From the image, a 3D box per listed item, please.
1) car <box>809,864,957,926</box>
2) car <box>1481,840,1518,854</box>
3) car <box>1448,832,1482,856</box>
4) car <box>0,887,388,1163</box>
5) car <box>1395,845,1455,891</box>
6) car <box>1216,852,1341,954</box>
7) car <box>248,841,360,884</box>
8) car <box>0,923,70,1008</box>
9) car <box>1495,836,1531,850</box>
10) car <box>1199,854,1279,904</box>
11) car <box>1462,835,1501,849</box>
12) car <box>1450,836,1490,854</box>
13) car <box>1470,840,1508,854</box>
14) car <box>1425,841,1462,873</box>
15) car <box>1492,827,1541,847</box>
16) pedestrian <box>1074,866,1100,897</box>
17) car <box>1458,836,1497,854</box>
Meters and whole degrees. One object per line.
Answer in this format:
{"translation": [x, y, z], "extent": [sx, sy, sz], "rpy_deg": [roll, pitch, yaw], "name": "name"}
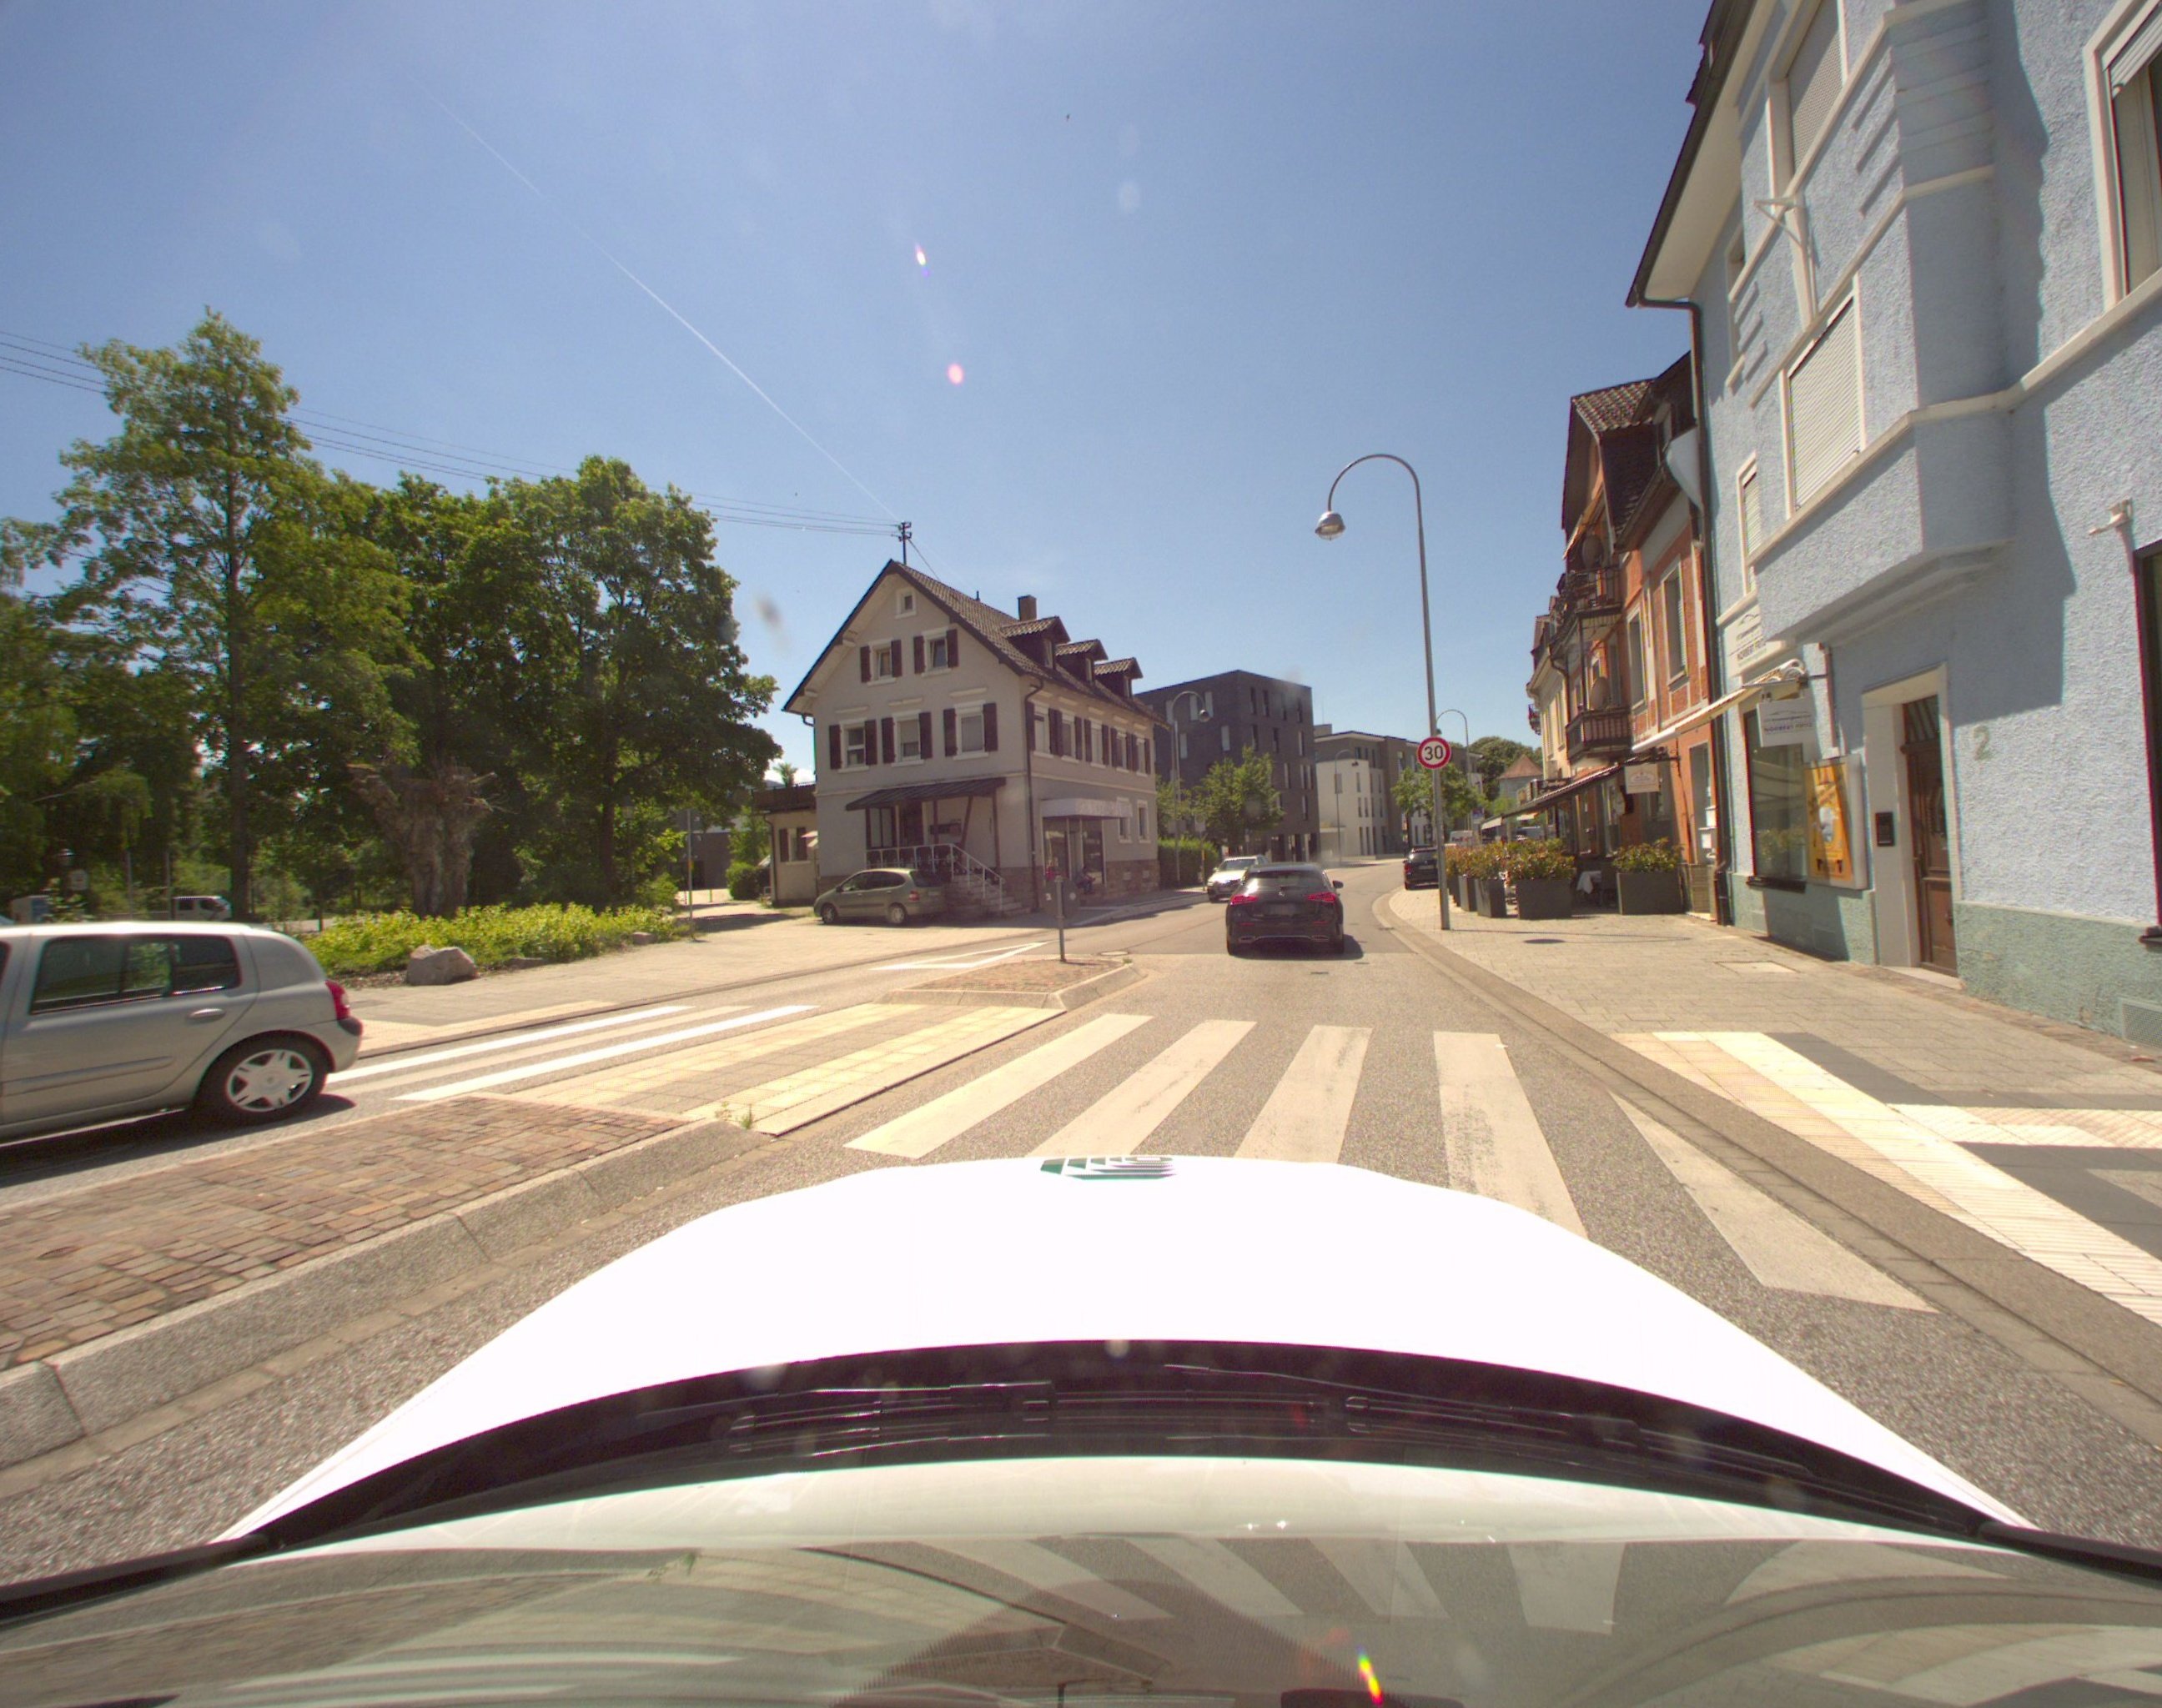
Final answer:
{"translation": [-5.846, 1.211, 24.027], "extent": [3.950, 1.640, 1.768], "rpy_deg": [-3, 0, 25], "name": "car"}
{"translation": [56.379, -0.948, 109.640], "extent": [2.012, 1.662, 3.950], "rpy_deg": [-2, -1, -45], "name": "car"}
{"translation": [34.128, -0.884, 72.250], "extent": [1.974, 2.013, 4.026], "rpy_deg": [-3, -1, 35], "name": "car"}
{"translation": [-6.677, 1.045, 4.684], "extent": [1.530, 1.412, 3.742], "rpy_deg": [-6, -2, 30], "name": "car"}
{"translation": [12.929, 0.470, 30.486], "extent": [1.734, 1.486, 4.024], "rpy_deg": [-6, -2, 26], "name": "car"}
{"translation": [3.546, 0.786, 14.190], "extent": [1.749, 1.457, 4.457], "rpy_deg": [-3, -2, 17], "name": "car"}
{"translation": [-39.874, 0.436, 41.927], "extent": [4.022, 2.013, 1.976], "rpy_deg": [-3, 0, -41], "name": "car"}
{"translation": [-29.326, 2.962, 20.739], "extent": [3.997, 2.013, 1.988], "rpy_deg": [-2, 0, -18], "name": "car"}
{"translation": [60.366, -1.521, 113.756], "extent": [2.012, 1.662, 3.950], "rpy_deg": [-2, -1, -45], "name": "car"}
{"translation": [5.854, 0.856, 29.778], "extent": [1.659, 1.543, 4.108], "rpy_deg": [-5, -2, 27], "name": "car"}
{"translation": [51.454, -1.545, 104.638], "extent": [2.012, 1.662, 3.950], "rpy_deg": [-2, -1, -45], "name": "car"}
{"translation": [48.307, -1.090, 101.058], "extent": [2.011, 2.013, 3.951], "rpy_deg": [-2, -1, -43], "name": "car"}
{"translation": [53.533, -0.900, 106.960], "extent": [2.012, 1.662, 3.950], "rpy_deg": [-2, -1, -45], "name": "car"}
{"translation": [19.069, 0.146, 42.775], "extent": [1.591, 1.530, 3.512], "rpy_deg": [-5, -1, 24], "name": "car"}
{"translation": [63.281, -2.476, 118.356], "extent": [2.530, 2.579, 5.591], "rpy_deg": [-2, -1, -43], "name": "car"}
{"translation": [0.230, 0.968, 28.899], "extent": [0.664, 1.054, 0.703], "rpy_deg": [-3, -1, 21], "name": "pedestrian"}
{"translation": [50.013, -1.097, 102.737], "extent": [2.011, 2.013, 3.951], "rpy_deg": [-2, -1, -43], "name": "car"}
